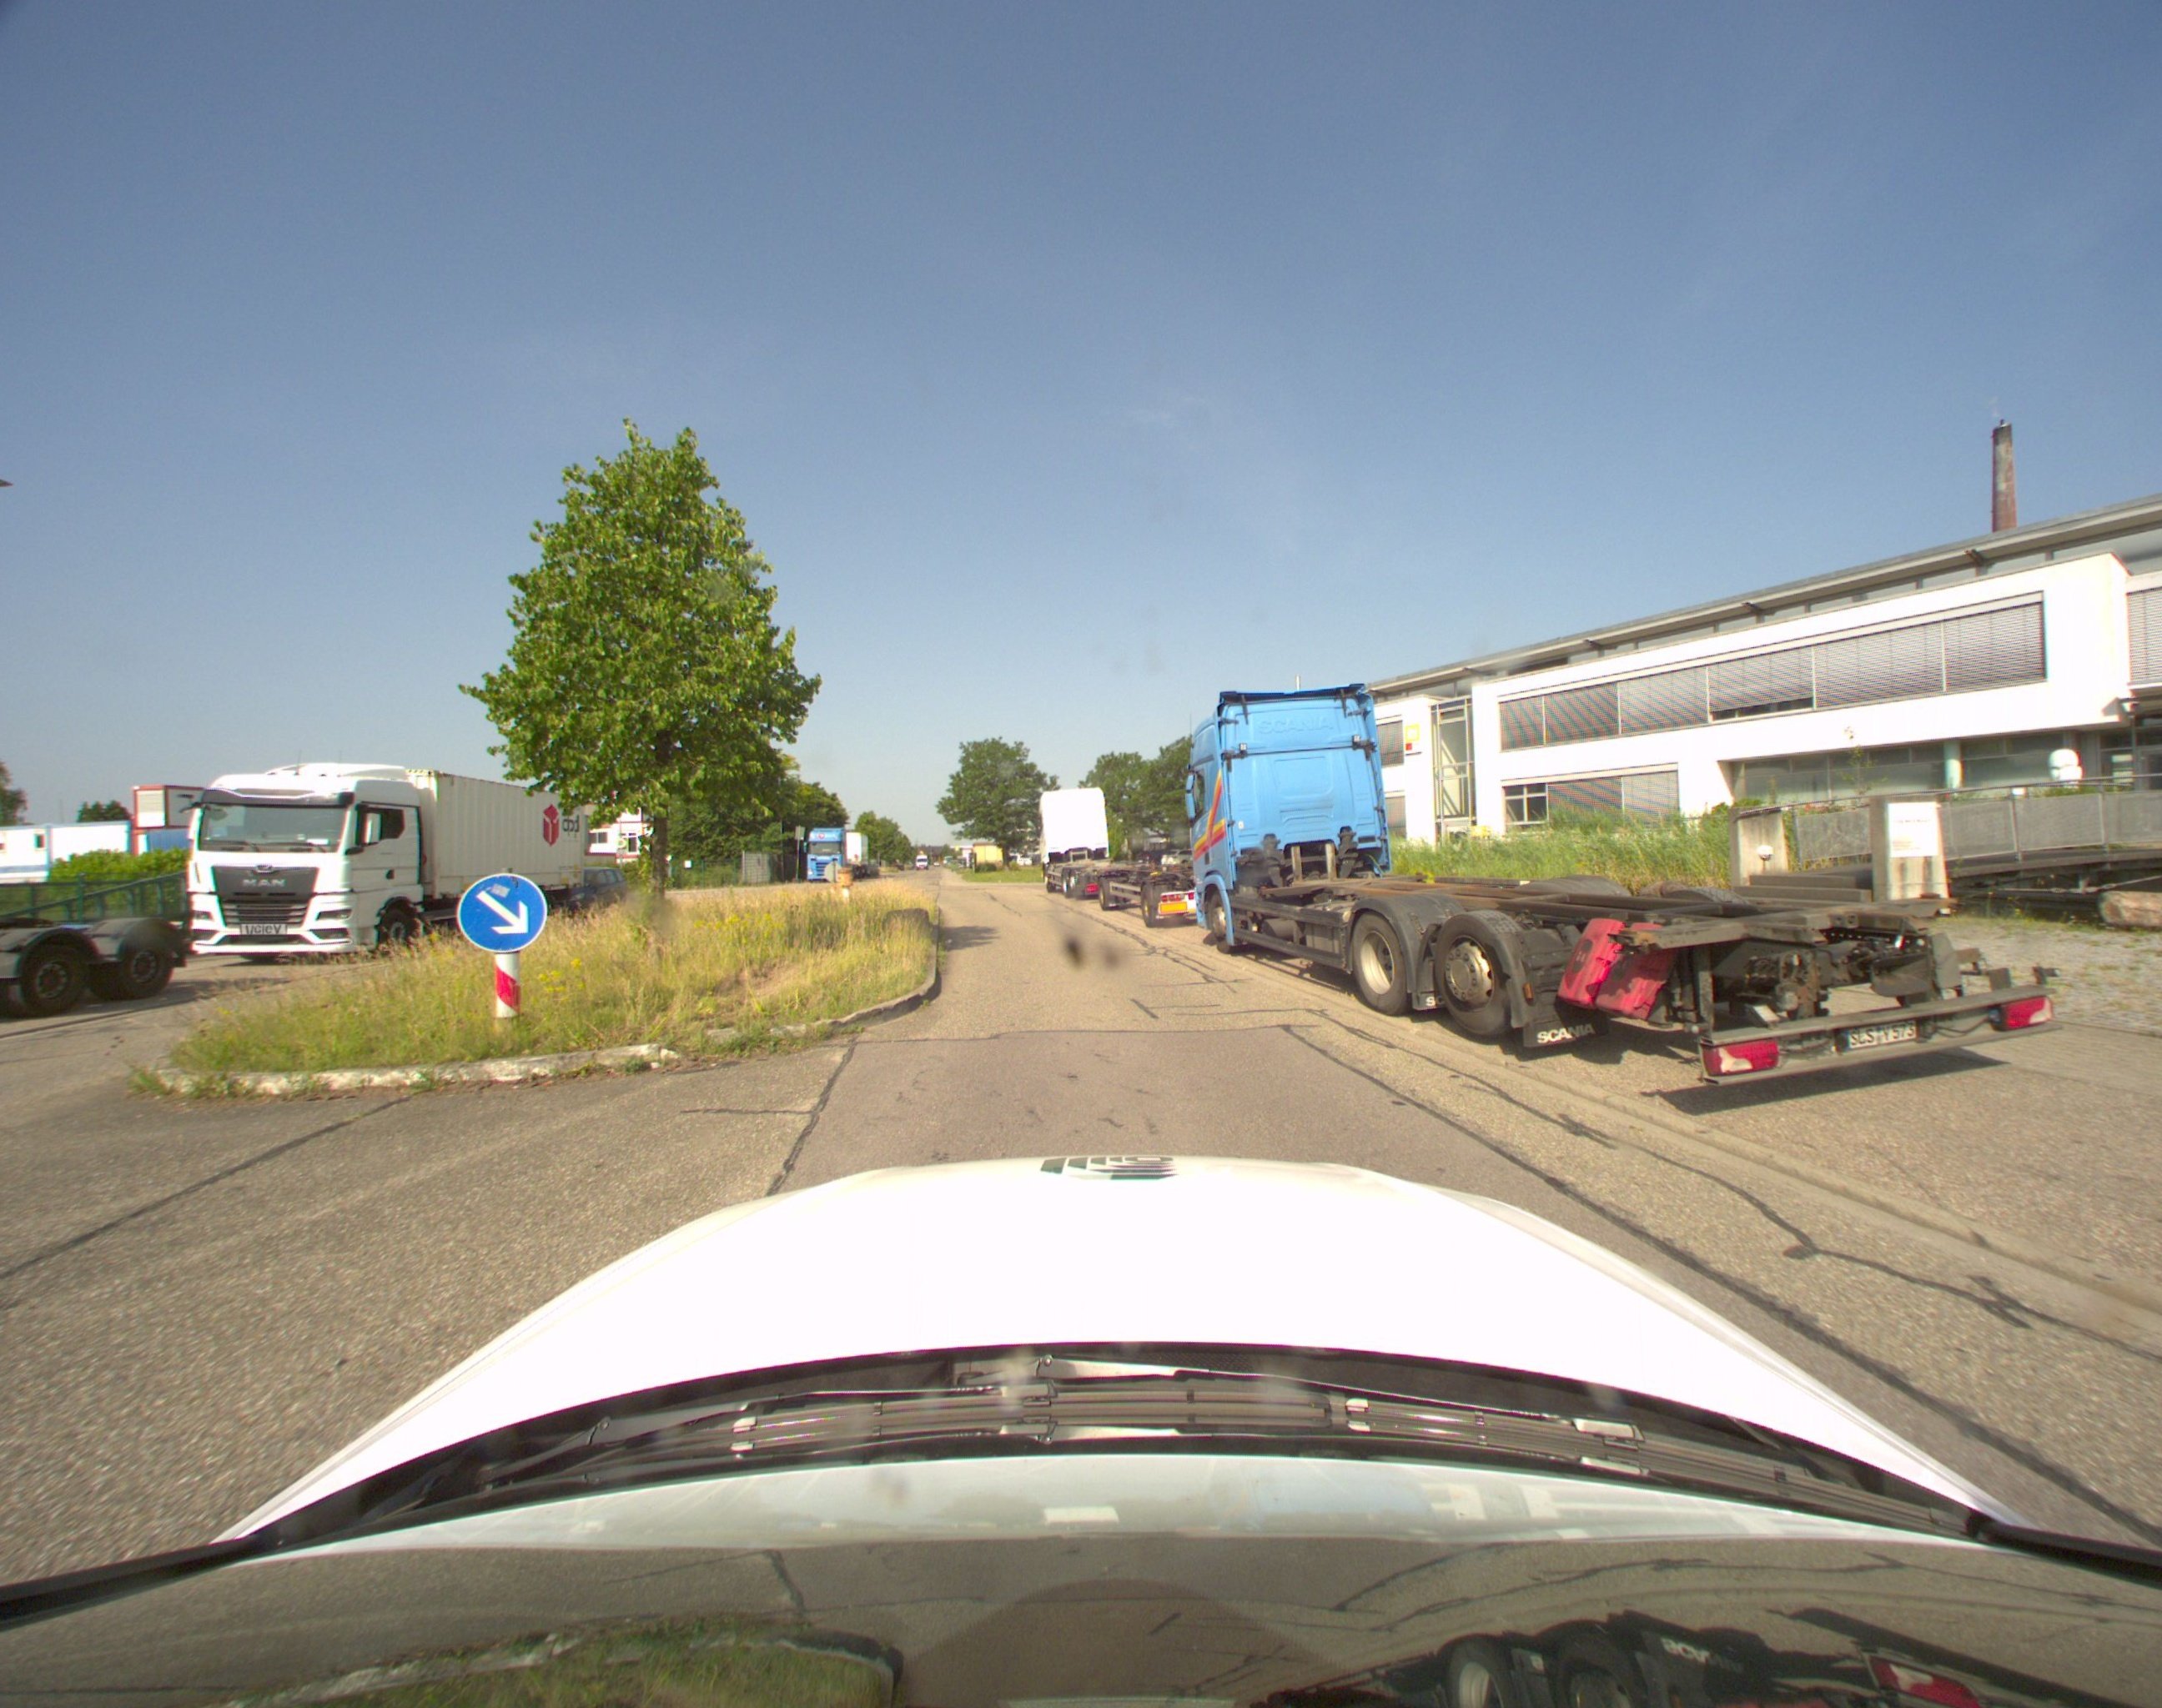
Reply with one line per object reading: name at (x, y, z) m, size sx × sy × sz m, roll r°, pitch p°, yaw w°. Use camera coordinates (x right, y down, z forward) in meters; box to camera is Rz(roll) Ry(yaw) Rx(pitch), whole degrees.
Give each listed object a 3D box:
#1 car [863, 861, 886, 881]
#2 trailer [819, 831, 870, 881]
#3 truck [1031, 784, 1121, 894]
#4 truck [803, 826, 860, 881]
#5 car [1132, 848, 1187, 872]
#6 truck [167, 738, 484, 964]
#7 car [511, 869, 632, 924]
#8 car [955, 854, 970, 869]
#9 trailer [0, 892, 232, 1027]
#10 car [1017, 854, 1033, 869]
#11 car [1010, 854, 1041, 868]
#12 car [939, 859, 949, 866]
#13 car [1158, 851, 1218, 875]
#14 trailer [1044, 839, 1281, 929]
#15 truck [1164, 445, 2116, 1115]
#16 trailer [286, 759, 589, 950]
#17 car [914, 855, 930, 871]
car at (-21.980, 1.829, 86.559) m, size 2.000 × 2.014 × 3.973 m, roll -1°, pitch -1°, yaw -20°
trailer at (-19.895, 0.346, 69.136) m, size 2.831 × 3.843 × 11.992 m, roll 0°, pitch -2°, yaw -10°
truck at (-0.299, -0.562, 32.874) m, size 2.746 × 3.981 × 3.987 m, roll -4°, pitch 0°, yaw -10°
truck at (-18.477, 0.110, 60.882) m, size 2.825 × 3.826 × 9.638 m, roll 0°, pitch -2°, yaw -10°
car at (5.954, 0.502, 61.575) m, size 4.021 × 1.767 × 1.976 m, roll 1°, pitch -2°, yaw -41°
truck at (-14.835, 0.005, 16.500) m, size 2.709 × 3.922 × 4.281 m, roll 0°, pitch -2°, yaw -11°
car at (-16.992, 1.346, 27.454) m, size 1.995 × 1.641 × 4.569 m, roll 0°, pitch 0°, yaw -12°
car at (-14.928, 0.980, 102.583) m, size 1.792 × 1.750 × 3.985 m, roll 0°, pitch -2°, yaw -11°
trailer at (-14.035, 1.321, 9.816) m, size 2.680 × 1.453 × 5.062 m, roll -1°, pitch 0°, yaw -9°
car at (-6.619, 0.887, 95.381) m, size 1.715 × 1.618 × 3.990 m, roll 0°, pitch -2°, yaw -6°
car at (-5.371, 0.681, 78.269) m, size 1.677 × 1.330 × 3.631 m, roll 1°, pitch -2°, yaw -26°
car at (-33.731, 2.089, 201.030) m, size 1.776 × 1.815 × 3.973 m, roll 0°, pitch -2°, yaw -19°
car at (7.771, 0.664, 58.858) m, size 4.101 × 1.701 × 1.748 m, roll 1°, pitch -2°, yaw -31°
trailer at (1.287, 0.661, 23.965) m, size 2.746 × 1.574 × 16.117 m, roll -4°, pitch 0°, yaw -9°
truck at (3.737, -0.409, 9.345) m, size 2.888 × 3.535 × 9.723 m, roll -5°, pitch -1°, yaw -9°
trailer at (-15.580, 0.117, 20.661) m, size 2.700 × 3.922 × 7.547 m, roll 0°, pitch -2°, yaw -10°
car at (-27.745, 1.657, 142.066) m, size 2.219 × 2.686 × 6.815 m, roll 0°, pitch -2°, yaw -16°
